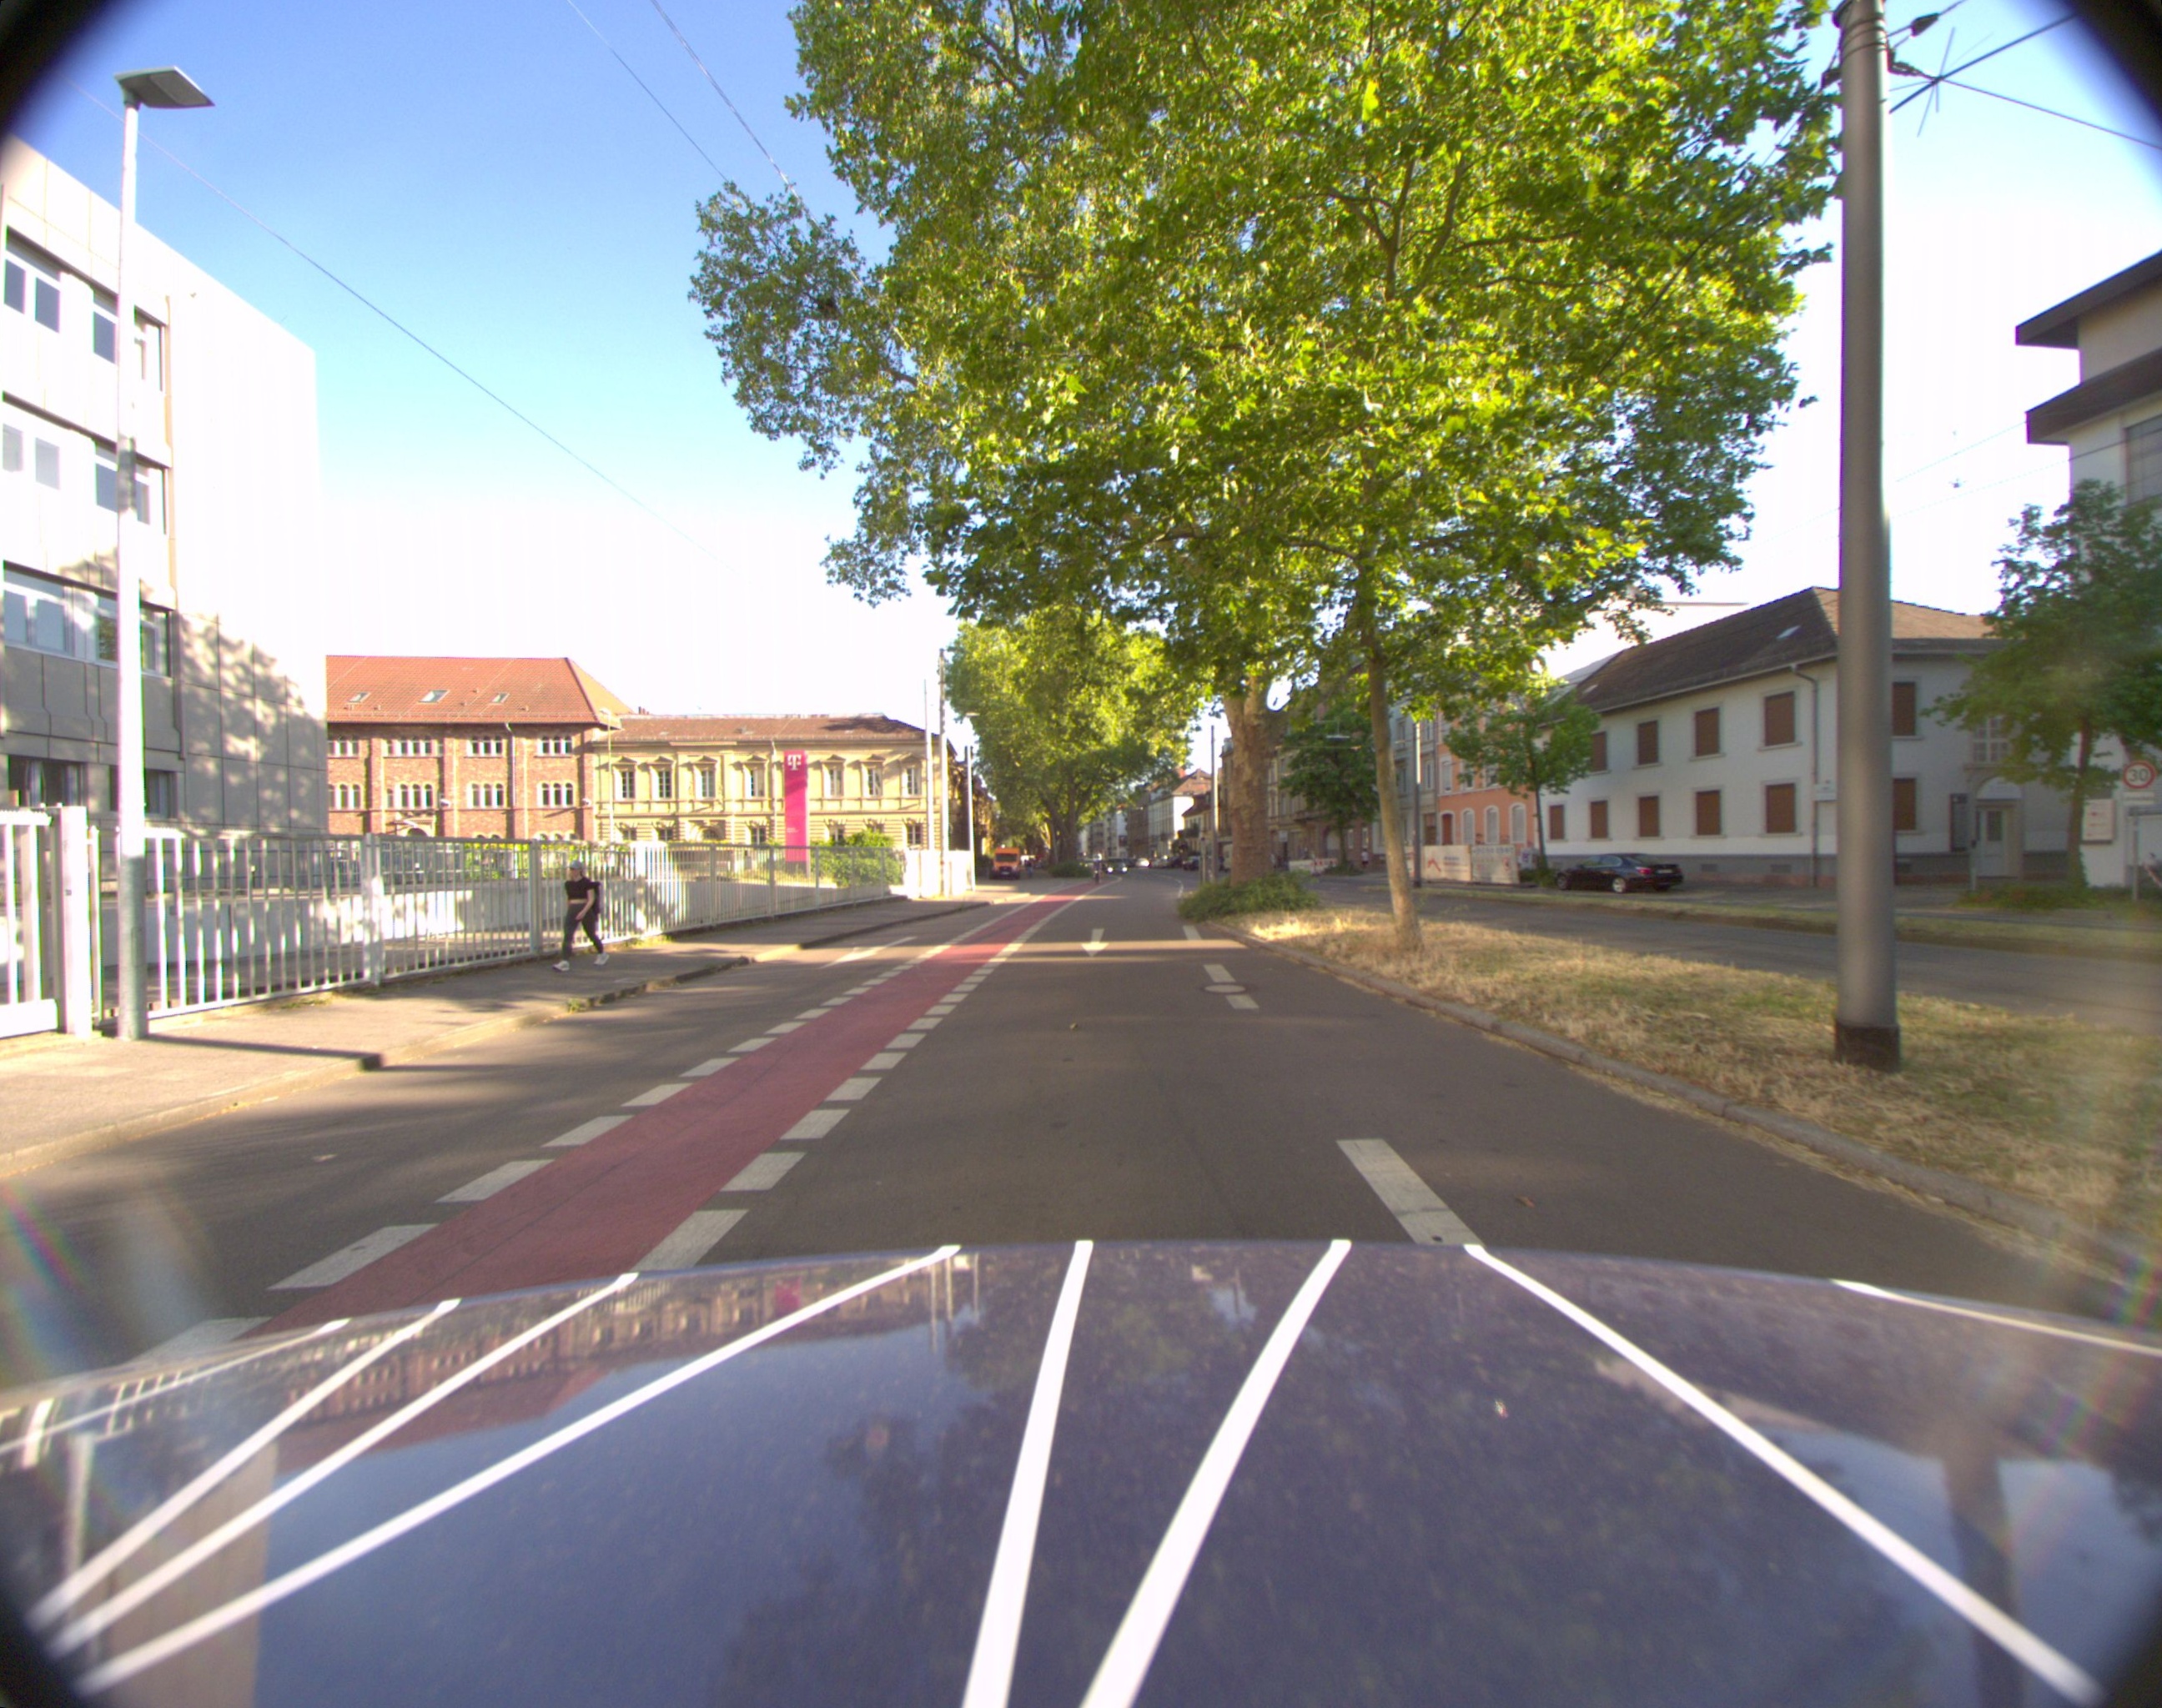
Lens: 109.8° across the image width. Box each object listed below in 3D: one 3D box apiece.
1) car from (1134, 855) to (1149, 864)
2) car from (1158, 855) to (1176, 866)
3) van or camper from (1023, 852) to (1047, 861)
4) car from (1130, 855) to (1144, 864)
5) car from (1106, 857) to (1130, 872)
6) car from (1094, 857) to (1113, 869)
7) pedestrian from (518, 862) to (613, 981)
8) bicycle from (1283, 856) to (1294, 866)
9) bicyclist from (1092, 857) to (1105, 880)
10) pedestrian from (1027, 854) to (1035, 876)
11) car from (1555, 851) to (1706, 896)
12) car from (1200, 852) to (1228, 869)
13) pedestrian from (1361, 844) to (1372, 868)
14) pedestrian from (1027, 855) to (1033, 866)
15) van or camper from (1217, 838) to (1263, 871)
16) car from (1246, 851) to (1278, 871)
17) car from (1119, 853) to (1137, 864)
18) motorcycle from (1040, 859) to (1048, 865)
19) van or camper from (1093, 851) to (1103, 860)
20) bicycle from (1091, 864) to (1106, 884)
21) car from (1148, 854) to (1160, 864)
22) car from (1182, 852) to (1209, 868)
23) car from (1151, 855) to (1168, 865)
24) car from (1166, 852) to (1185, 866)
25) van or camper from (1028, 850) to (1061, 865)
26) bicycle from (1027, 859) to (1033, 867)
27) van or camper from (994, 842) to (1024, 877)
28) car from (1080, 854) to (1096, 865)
[{"bbox_3d":[10.412,0.976,130.394,1.869,1.423,4.081,-3,0,-5],"label":"car"},{"bbox_3d":[12.368,0.923,109.403,1.668,1.446,4.402,-4,0,-5],"label":"car"},{"bbox_3d":[-12.051,0.626,199.409,6.101,2.417,2.427,-1,0,-4],"label":"van or camper"},{"bbox_3d":[9.937,0.935,135.478,1.799,1.587,4.081,-3,0,-5],"label":"car"},{"bbox_3d":[3.678,1.028,76.302,1.740,1.365,3.917,-3,0,-5],"label":"car"},{"bbox_3d":[2.669,1.074,90.942,1.740,1.365,3.917,-3,0,-5],"label":"car"},{"bbox_3d":[-7.588,0.967,11.232,0.697,1.674,0.931,-1,1,5],"label":"pedestrian"},{"bbox_3d":[20.149,0.707,73.784,0.580,0.919,1.791,-1,0,-2],"label":"bicycle"},{"bbox_3d":[1.057,0.894,46.907,0.715,1.435,0.953,-1,0,-4],"label":"bicyclist"},{"bbox_3d":[-4.060,0.898,61.370,0.652,1.726,1.007,-1,0,-4],"label":"pedestrian"},{"bbox_3d":[20.527,0.676,28.705,1.999,1.505,4.722,-1,0,-5],"label":"car"},{"bbox_3d":[14.920,0.728,85.340,1.816,1.695,4.441,-4,0,-6],"label":"car"},{"bbox_3d":[21.680,0.177,57.734,0.599,1.807,0.481,-1,1,-5],"label":"pedestrian"},{"bbox_3d":[-7.207,0.911,107.329,0.671,1.610,1.102,1,1,-2],"label":"pedestrian"},{"bbox_3d":[15.740,0.047,75.776,2.426,2.930,7.248,-4,0,-3],"label":"van or camper"},{"bbox_3d":[16.565,0.644,69.532,1.635,1.696,3.369,-4,1,-8],"label":"car"},{"bbox_3d":[7.219,0.706,117.674,2.000,1.679,4.307,-1,0,-6],"label":"car"},{"bbox_3d":[-5.874,1.248,119.191,1.274,1.048,0.394,-1,1,-41],"label":"motorcycle"},{"bbox_3d":[4.308,0.317,197.162,1.945,2.267,4.596,-3,0,-5],"label":"van or camper"},{"bbox_3d":[1.057,1.213,46.958,0.715,1.131,2.119,-1,0,-4],"label":"bicycle"},{"bbox_3d":[11.536,0.847,120.203,1.422,1.502,3.325,-3,0,-2],"label":"car"},{"bbox_3d":[13.955,0.737,92.989,1.999,1.693,4.748,-4,0,-6],"label":"car"},{"bbox_3d":[11.857,0.893,114.803,1.587,1.482,4.468,-3,0,-5],"label":"car"},{"bbox_3d":[13.026,0.664,105.043,1.729,1.736,3.624,-4,0,-4],"label":"car"},{"bbox_3d":[-6.724,0.670,139.498,5.931,2.484,2.219,-1,3,-7],"label":"van or camper"},{"bbox_3d":[-7.231,1.269,107.462,0.676,1.026,1.900,1,0,-2],"label":"bicycle"},{"bbox_3d":[-5.493,0.424,58.623,2.041,2.544,5.771,-1,0,-3],"label":"van or camper"},{"bbox_3d":[0.922,0.724,102.751,1.726,1.523,3.592,-1,0,-6],"label":"car"}]
